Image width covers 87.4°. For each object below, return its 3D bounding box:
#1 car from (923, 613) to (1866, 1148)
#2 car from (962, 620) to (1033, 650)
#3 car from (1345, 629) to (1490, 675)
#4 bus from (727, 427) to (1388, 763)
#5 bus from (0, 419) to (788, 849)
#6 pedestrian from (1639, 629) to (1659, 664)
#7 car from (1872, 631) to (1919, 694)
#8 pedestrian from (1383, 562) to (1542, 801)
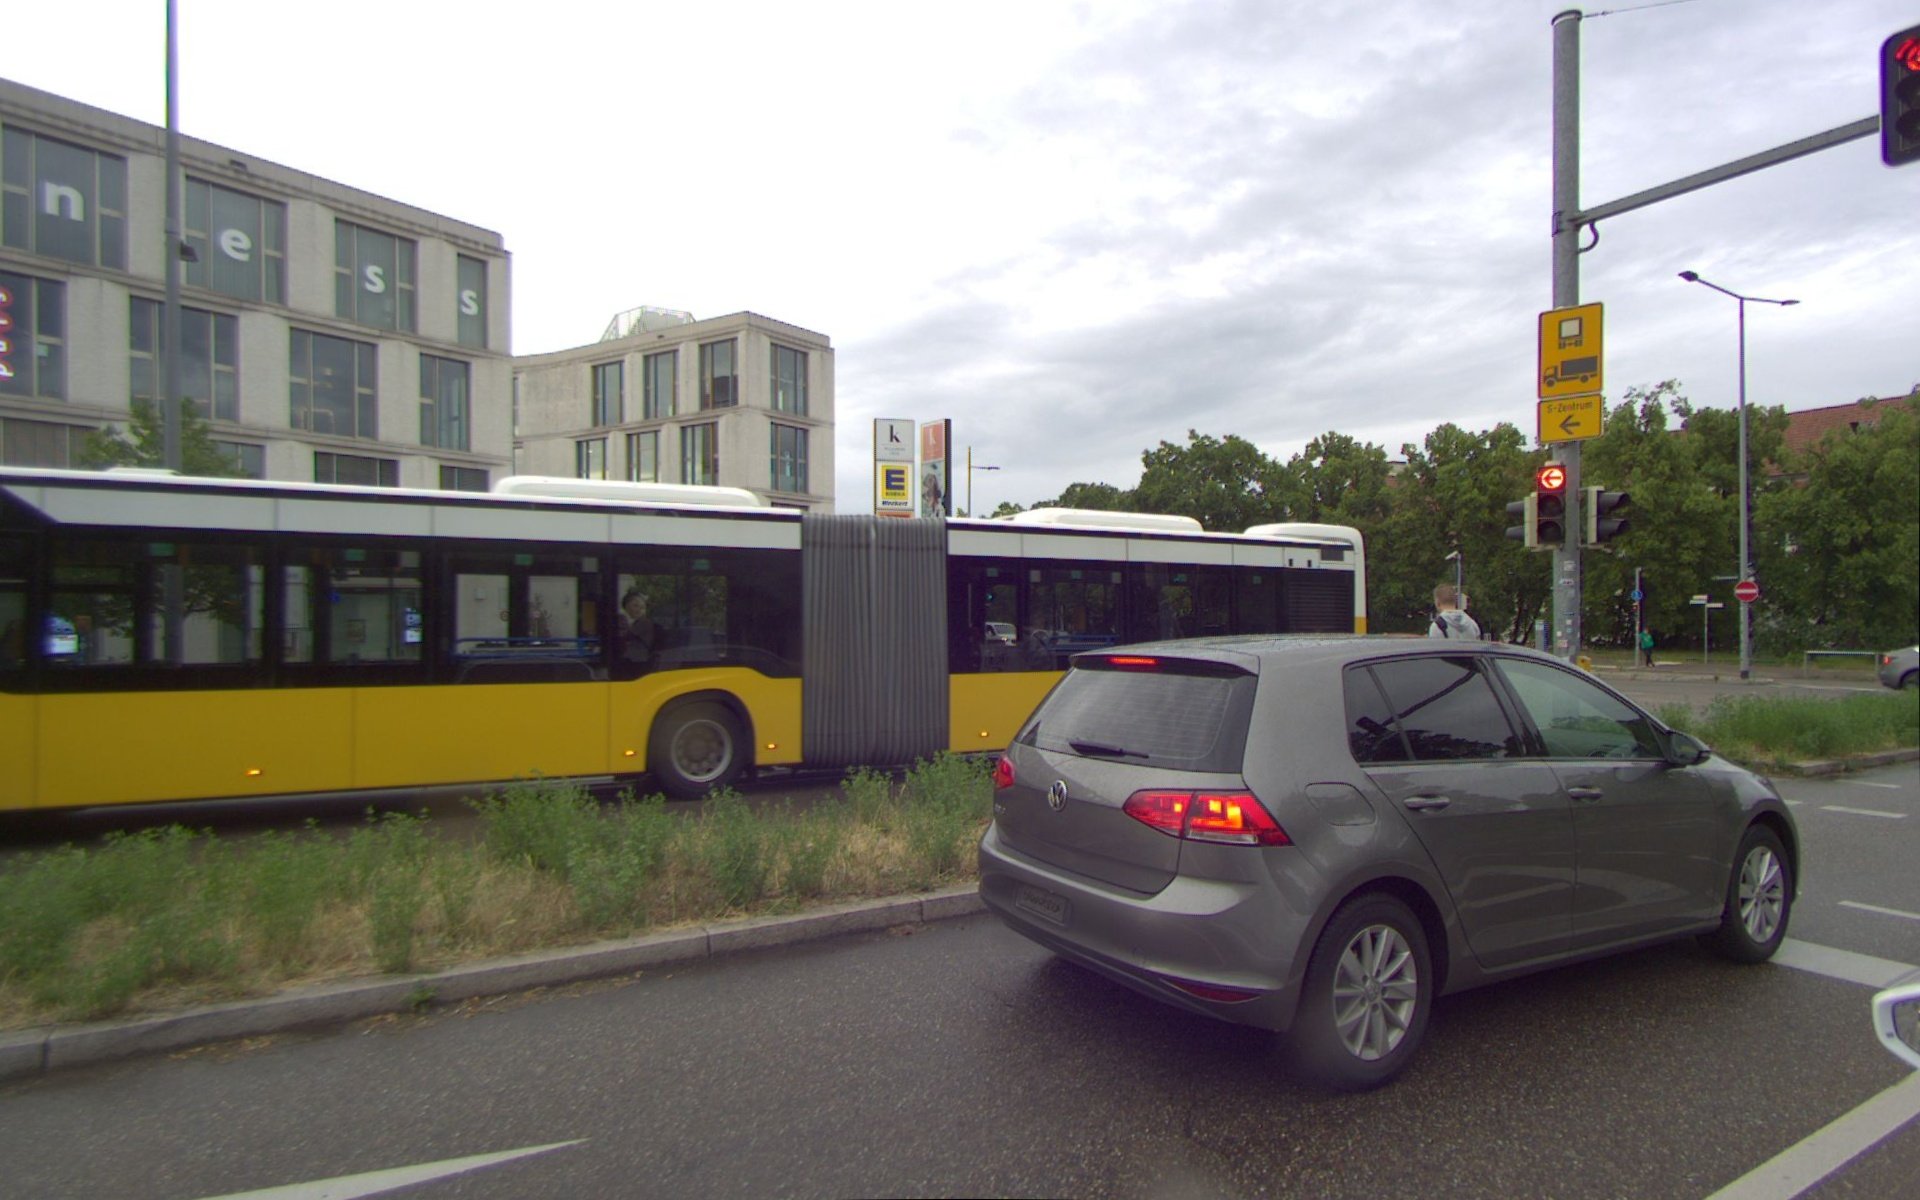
[{"bbox_3d":[2.073,0.844,4.562,4.146,1.448,1.798,2,-3,-30],"label":"car"},{"bbox_3d":[2.077,1.976,56.910,1.940,1.551,4.508,1,-1,-31],"label":"car"},{"bbox_3d":[16.324,1.819,36.096,1.974,1.444,4.509,1,-1,-27],"label":"car"},{"bbox_3d":[1.493,0.059,13.243,8.464,3.351,2.878,1,-1,-27],"label":"bus"},{"bbox_3d":[-6.660,0.293,9.142,9.630,3.144,2.878,1,-1,-27],"label":"bus"},{"bbox_3d":[30.209,2.035,44.064,0.612,1.510,0.767,0,-1,44],"label":"pedestrian"},{"bbox_3d":[23.959,1.491,22.611,1.978,1.444,4.742,1,-1,-32],"label":"car"},{"bbox_3d":[4.576,0.728,9.188,0.835,2.039,0.938,1,-4,-25],"label":"pedestrian"}]
